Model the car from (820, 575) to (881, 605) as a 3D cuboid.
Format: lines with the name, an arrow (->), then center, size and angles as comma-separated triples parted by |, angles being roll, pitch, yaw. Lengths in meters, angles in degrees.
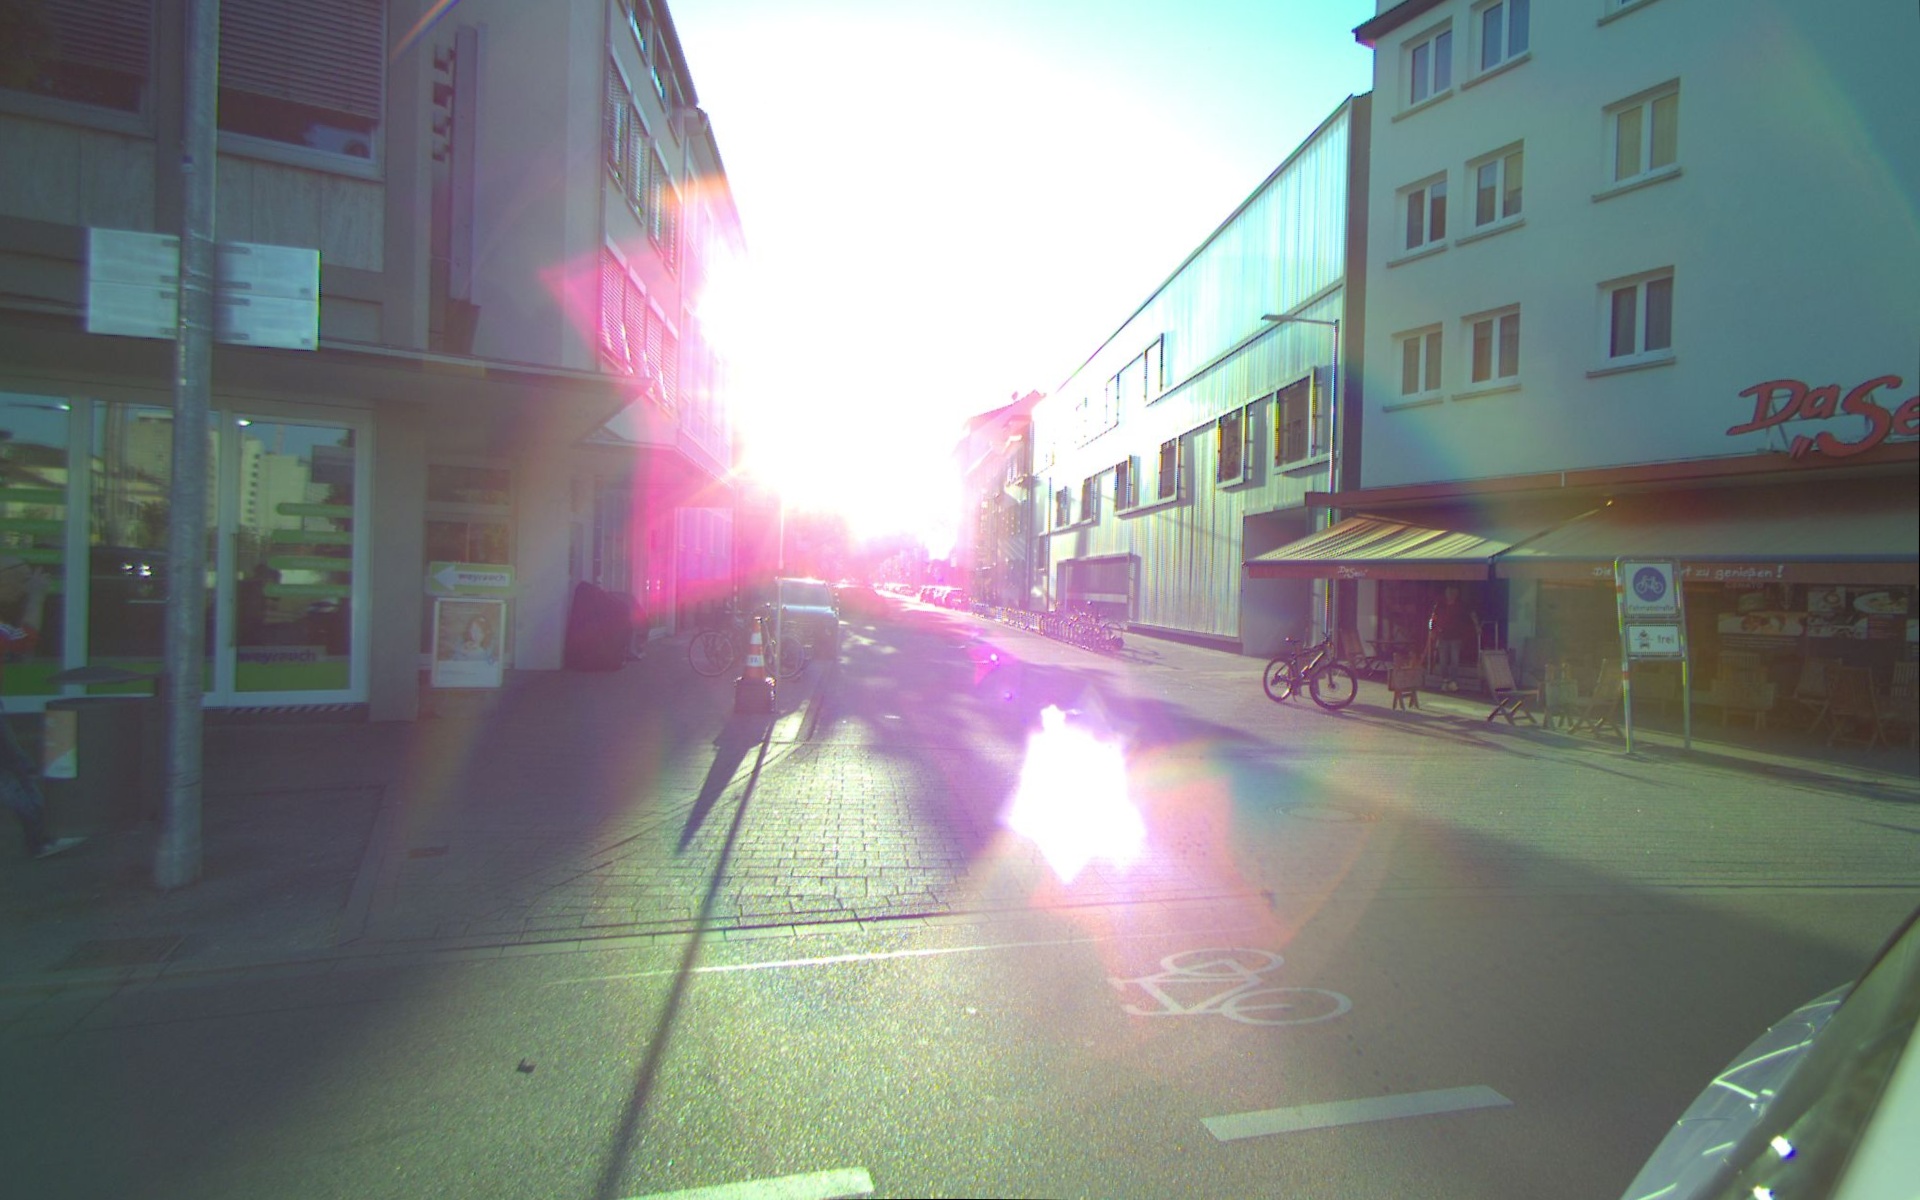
car -> -7.783, -0.669, 71.920 | 3.922, 2.039, 1.846 | 1, -1, -33

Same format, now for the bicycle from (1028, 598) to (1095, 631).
bicycle -> 3.602, 0.524, 35.801 | 2.295, 1.155, 0.529 | 1, -1, -11

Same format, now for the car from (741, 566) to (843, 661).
car -> -3.605, 0.257, 22.446 | 1.881, 1.773, 4.444 | 3, 0, -6

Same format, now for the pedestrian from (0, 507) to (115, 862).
pedestrian -> -5.003, 0.404, 5.053 | 0.821, 1.706, 1.034 | 0, -1, 38

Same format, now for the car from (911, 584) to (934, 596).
car -> -4.460, -1.200, 119.940 | 2.634, 1.262, 1.451 | 2, 1, -6

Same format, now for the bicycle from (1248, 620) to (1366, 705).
bicycle -> 5.326, 0.930, 15.650 | 0.525, 1.174, 1.914 | 1, 0, -26

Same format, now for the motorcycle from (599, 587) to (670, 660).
motorcycle -> -5.680, 0.381, 17.789 | 0.724, 1.172, 2.278 | 2, 1, -6

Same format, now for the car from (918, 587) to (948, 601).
car -> -2.433, -0.513, 91.872 | 2.634, 1.262, 1.451 | 1, -1, -6

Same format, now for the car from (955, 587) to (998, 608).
car -> 1.037, -0.161, 64.924 | 2.635, 1.262, 1.450 | 1, -1, -3

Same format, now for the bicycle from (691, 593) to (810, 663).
bicycle -> -3.448, 0.463, 16.711 | 1.880, 1.127, 0.629 | 1, -1, -11

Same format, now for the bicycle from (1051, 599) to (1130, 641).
bicycle -> 3.971, 0.597, 30.745 | 2.295, 1.247, 0.607 | 0, 1, -11

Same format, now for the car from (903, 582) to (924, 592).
car -> -5.956, -1.687, 130.396 | 2.634, 1.295, 1.267 | 1, -1, -6

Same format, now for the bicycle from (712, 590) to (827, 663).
bicycle -> -3.335, 0.473, 17.776 | 1.880, 1.127, 0.629 | 4, -2, -11

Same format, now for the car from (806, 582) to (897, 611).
car -> -5.337, -0.156, 50.100 | 4.084, 1.362, 1.996 | 1, 1, -44

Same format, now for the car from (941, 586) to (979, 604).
car -> 0.006, -0.391, 73.400 | 2.635, 1.262, 1.450 | 1, -1, -3

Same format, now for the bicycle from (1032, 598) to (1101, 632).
bicycle -> 3.706, 0.514, 35.226 | 2.295, 1.159, 0.529 | 1, -1, -11

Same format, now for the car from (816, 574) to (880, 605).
car -> -7.592, -0.665, 68.737 | 3.922, 2.002, 1.867 | 1, -1, -33

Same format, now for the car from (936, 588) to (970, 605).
car -> -0.542, -0.272, 78.532 | 2.534, 1.317, 1.299 | 1, -1, -5

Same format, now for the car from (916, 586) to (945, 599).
car -> -2.863, -0.719, 96.666 | 2.634, 1.262, 1.405 | 1, -1, -6

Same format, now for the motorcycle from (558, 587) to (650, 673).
motorcycle -> -5.374, 0.412, 15.439 | 0.794, 1.183, 2.298 | 1, 1, -6

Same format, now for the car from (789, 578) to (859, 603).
car -> -8.750, -0.598, 65.182 | 3.922, 1.527, 2.001 | 1, 1, -33

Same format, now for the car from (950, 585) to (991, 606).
car -> 0.701, -0.276, 68.383 | 2.635, 1.377, 1.450 | 1, -1, -3

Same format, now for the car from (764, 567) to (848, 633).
car -> -4.501, -0.030, 30.148 | 1.961, 1.641, 4.266 | 5, 0, -3

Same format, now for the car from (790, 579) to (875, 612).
car -> -6.644, -0.229, 52.778 | 3.922, 1.638, 2.001 | 1, 0, -33

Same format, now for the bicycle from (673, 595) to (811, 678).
bicycle -> -3.314, 0.555, 15.450 | 1.965, 1.127, 0.586 | 4, 0, -11

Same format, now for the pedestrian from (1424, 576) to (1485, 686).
pedestrian -> 8.567, 0.524, 17.531 | 0.749, 1.849, 0.715 | 0, 0, -41
